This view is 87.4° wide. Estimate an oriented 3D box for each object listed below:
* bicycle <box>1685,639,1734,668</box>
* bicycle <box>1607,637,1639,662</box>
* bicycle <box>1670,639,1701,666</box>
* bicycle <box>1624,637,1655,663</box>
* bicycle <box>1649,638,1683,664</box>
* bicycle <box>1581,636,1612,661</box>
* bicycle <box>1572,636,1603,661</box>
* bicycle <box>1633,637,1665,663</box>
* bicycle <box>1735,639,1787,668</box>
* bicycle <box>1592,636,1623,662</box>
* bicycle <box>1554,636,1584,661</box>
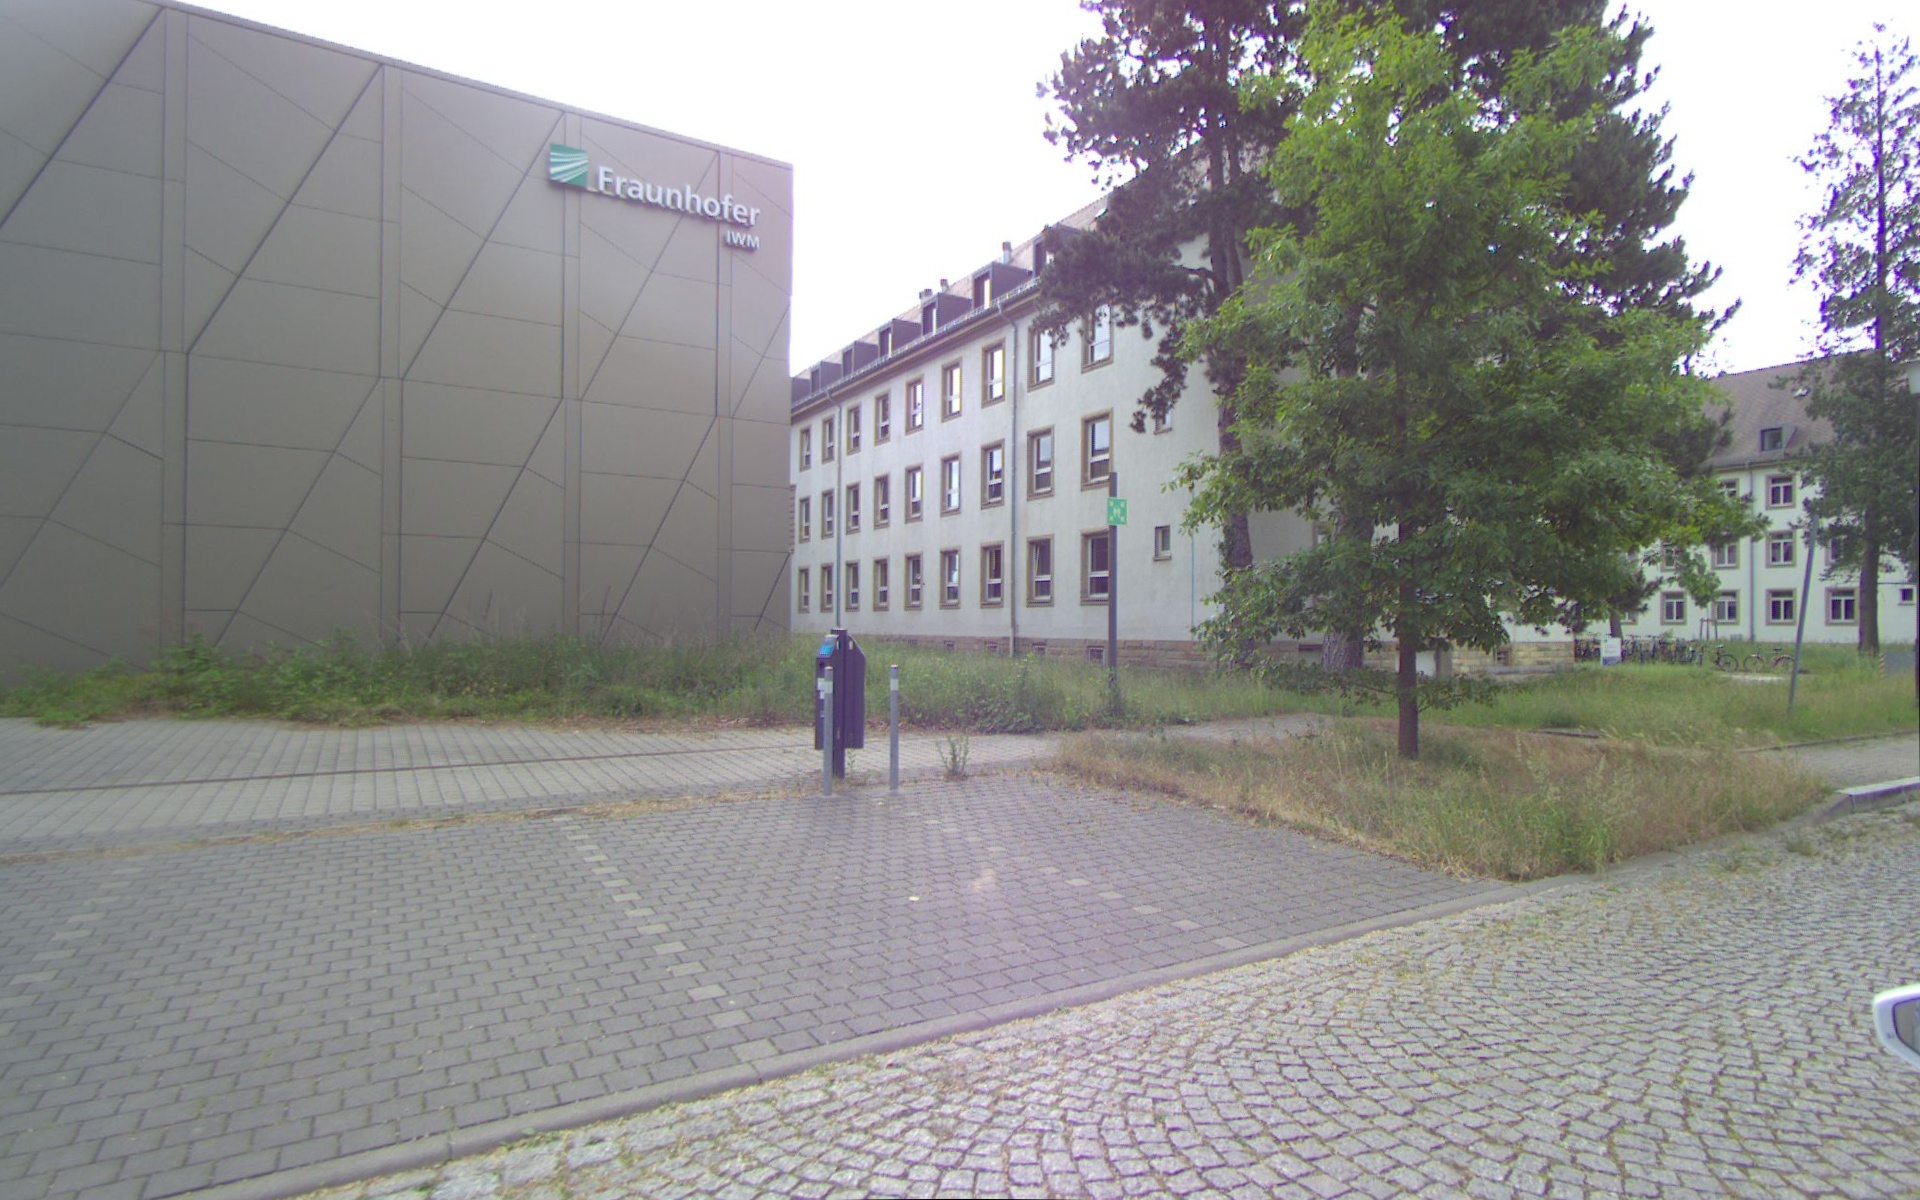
[{"bbox_3d":[29.484,2.088,39.504,0.510,1.093,1.456,1,-2,-32],"label":"bicycle"},{"bbox_3d":[28.698,2.131,43.468,1.567,1.093,0.512,1,-2,-31],"label":"bicycle"},{"bbox_3d":[29.929,2.140,41.445,1.569,1.093,0.511,2,-2,-34],"label":"bicycle"},{"bbox_3d":[29.056,2.126,42.950,1.567,1.093,0.512,1,-2,-31],"label":"bicycle"},{"bbox_3d":[29.512,2.133,41.982,1.566,1.093,0.512,1,-2,-29],"label":"bicycle"},{"bbox_3d":[28.131,2.147,44.378,1.567,1.093,0.512,1,-2,-31],"label":"bicycle"},{"bbox_3d":[27.930,2.173,44.705,1.567,1.093,0.512,1,-2,-31],"label":"bicycle"},{"bbox_3d":[29.235,2.129,42.637,1.567,1.093,0.512,1,-2,-31],"label":"bicycle"},{"bbox_3d":[30.451,2.029,38.184,0.510,1.079,1.456,1,-2,-32],"label":"bicycle"},{"bbox_3d":[28.365,2.148,43.993,1.567,1.093,0.512,1,-2,-31],"label":"bicycle"},{"bbox_3d":[27.528,2.184,45.391,1.567,1.093,0.512,1,-2,-31],"label":"bicycle"}]
